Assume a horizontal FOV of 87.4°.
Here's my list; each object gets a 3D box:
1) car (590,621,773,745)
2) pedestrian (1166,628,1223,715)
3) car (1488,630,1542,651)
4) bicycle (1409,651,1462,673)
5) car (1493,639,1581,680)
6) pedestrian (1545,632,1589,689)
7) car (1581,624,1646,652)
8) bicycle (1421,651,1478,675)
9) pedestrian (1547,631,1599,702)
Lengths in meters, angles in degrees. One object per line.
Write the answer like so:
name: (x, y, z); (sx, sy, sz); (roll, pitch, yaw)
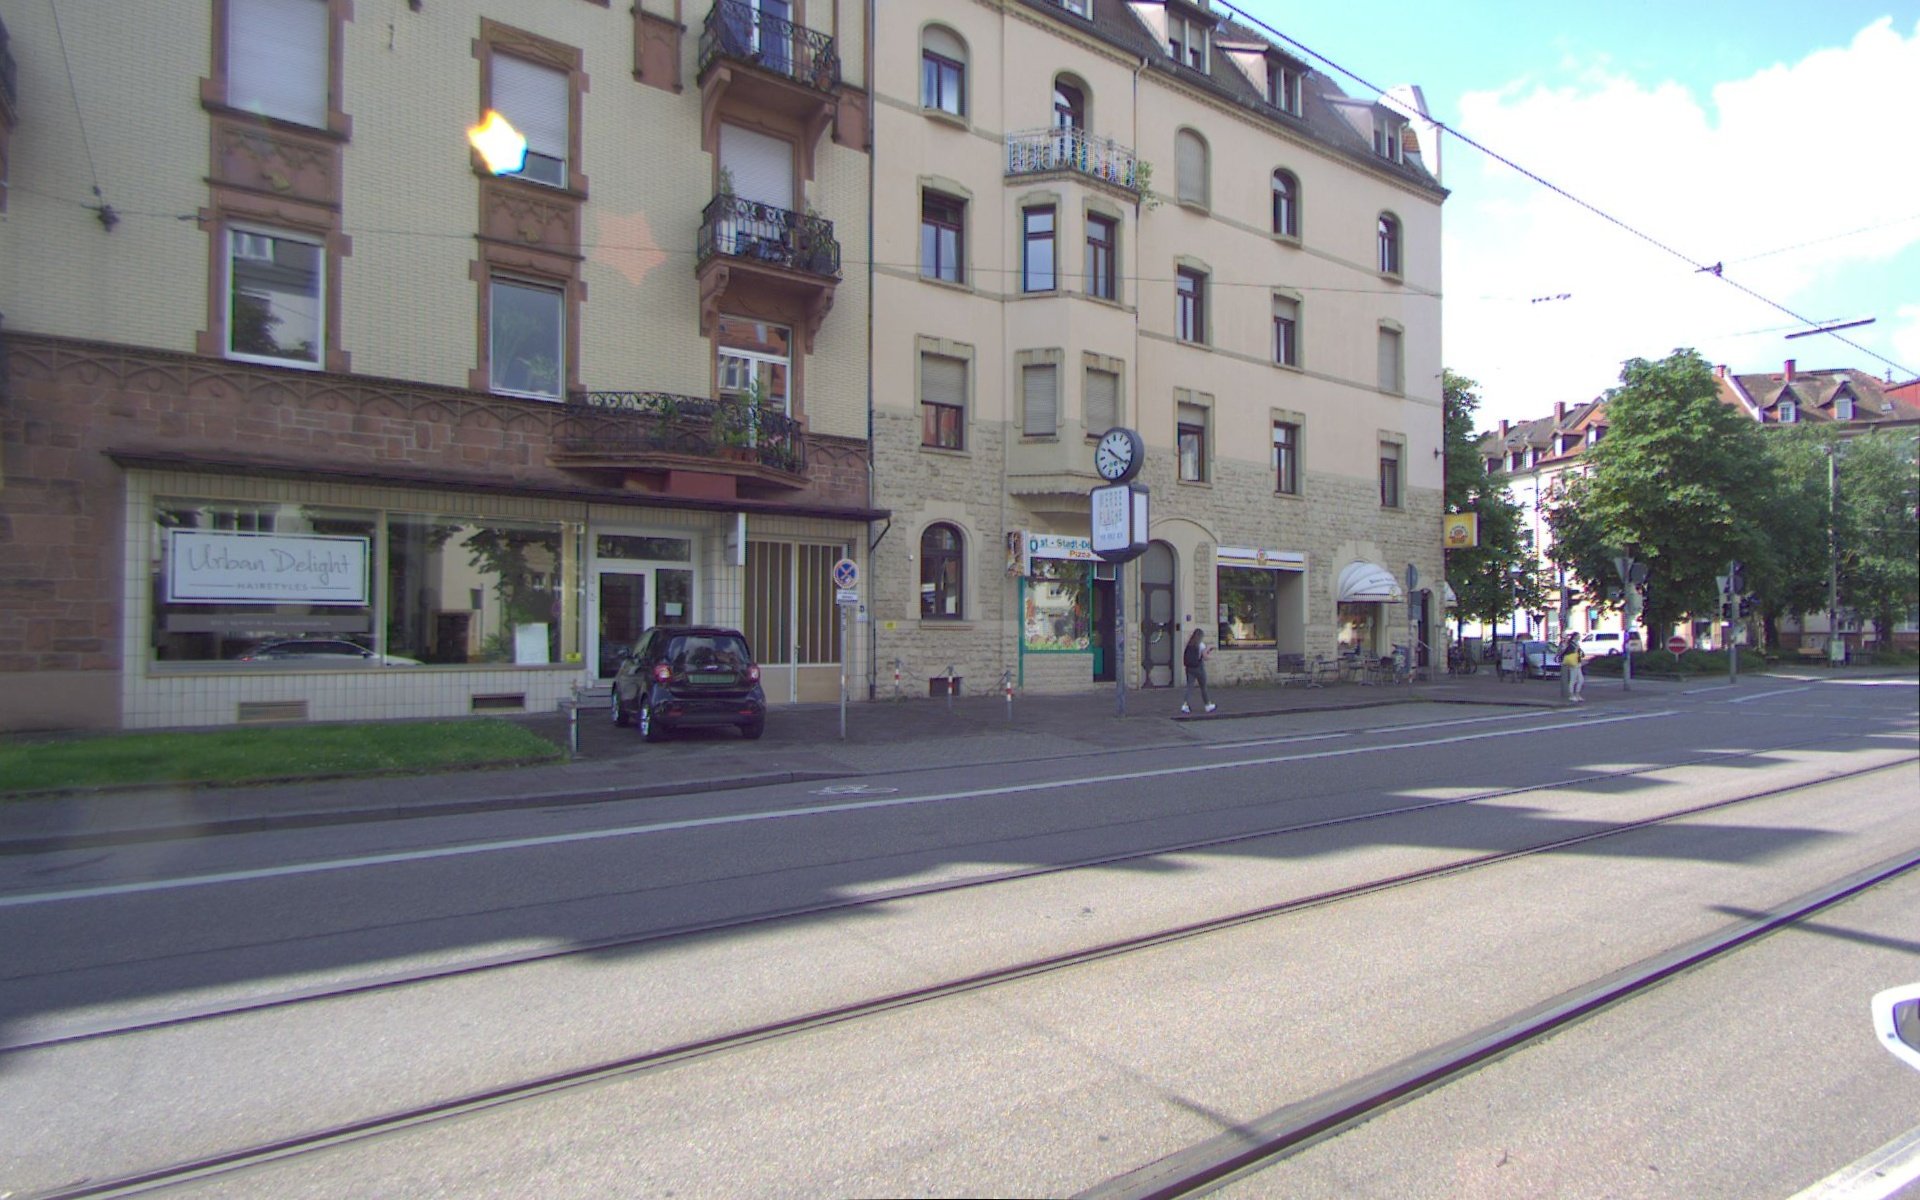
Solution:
car: (-4.204, 1.120, 14.836); (1.687, 1.506, 3.425); (1, 0, -32)
pedestrian: (4.550, 1.361, 19.455); (0.685, 1.562, 0.960); (4, 2, 37)
car: (46.137, 3.369, 83.635); (1.882, 1.685, 3.934); (1, -2, -11)
bicycle: (20.477, 2.673, 43.314); (1.990, 0.894, 0.512); (1, -2, 13)
car: (22.038, 2.239, 38.519); (1.686, 1.439, 3.876); (0, -2, 10)
pedestrian: (18.514, 1.828, 30.649); (0.813, 1.694, 0.850); (1, -2, -32)
car: (47.977, 2.772, 73.858); (1.823, 2.015, 3.942); (1, -2, -10)
bicycle: (19.861, 2.546, 40.803); (1.990, 0.894, 0.523); (1, -2, 13)
pedestrian: (15.629, 1.678, 25.608); (0.865, 1.727, 0.751); (1, 2, -34)
